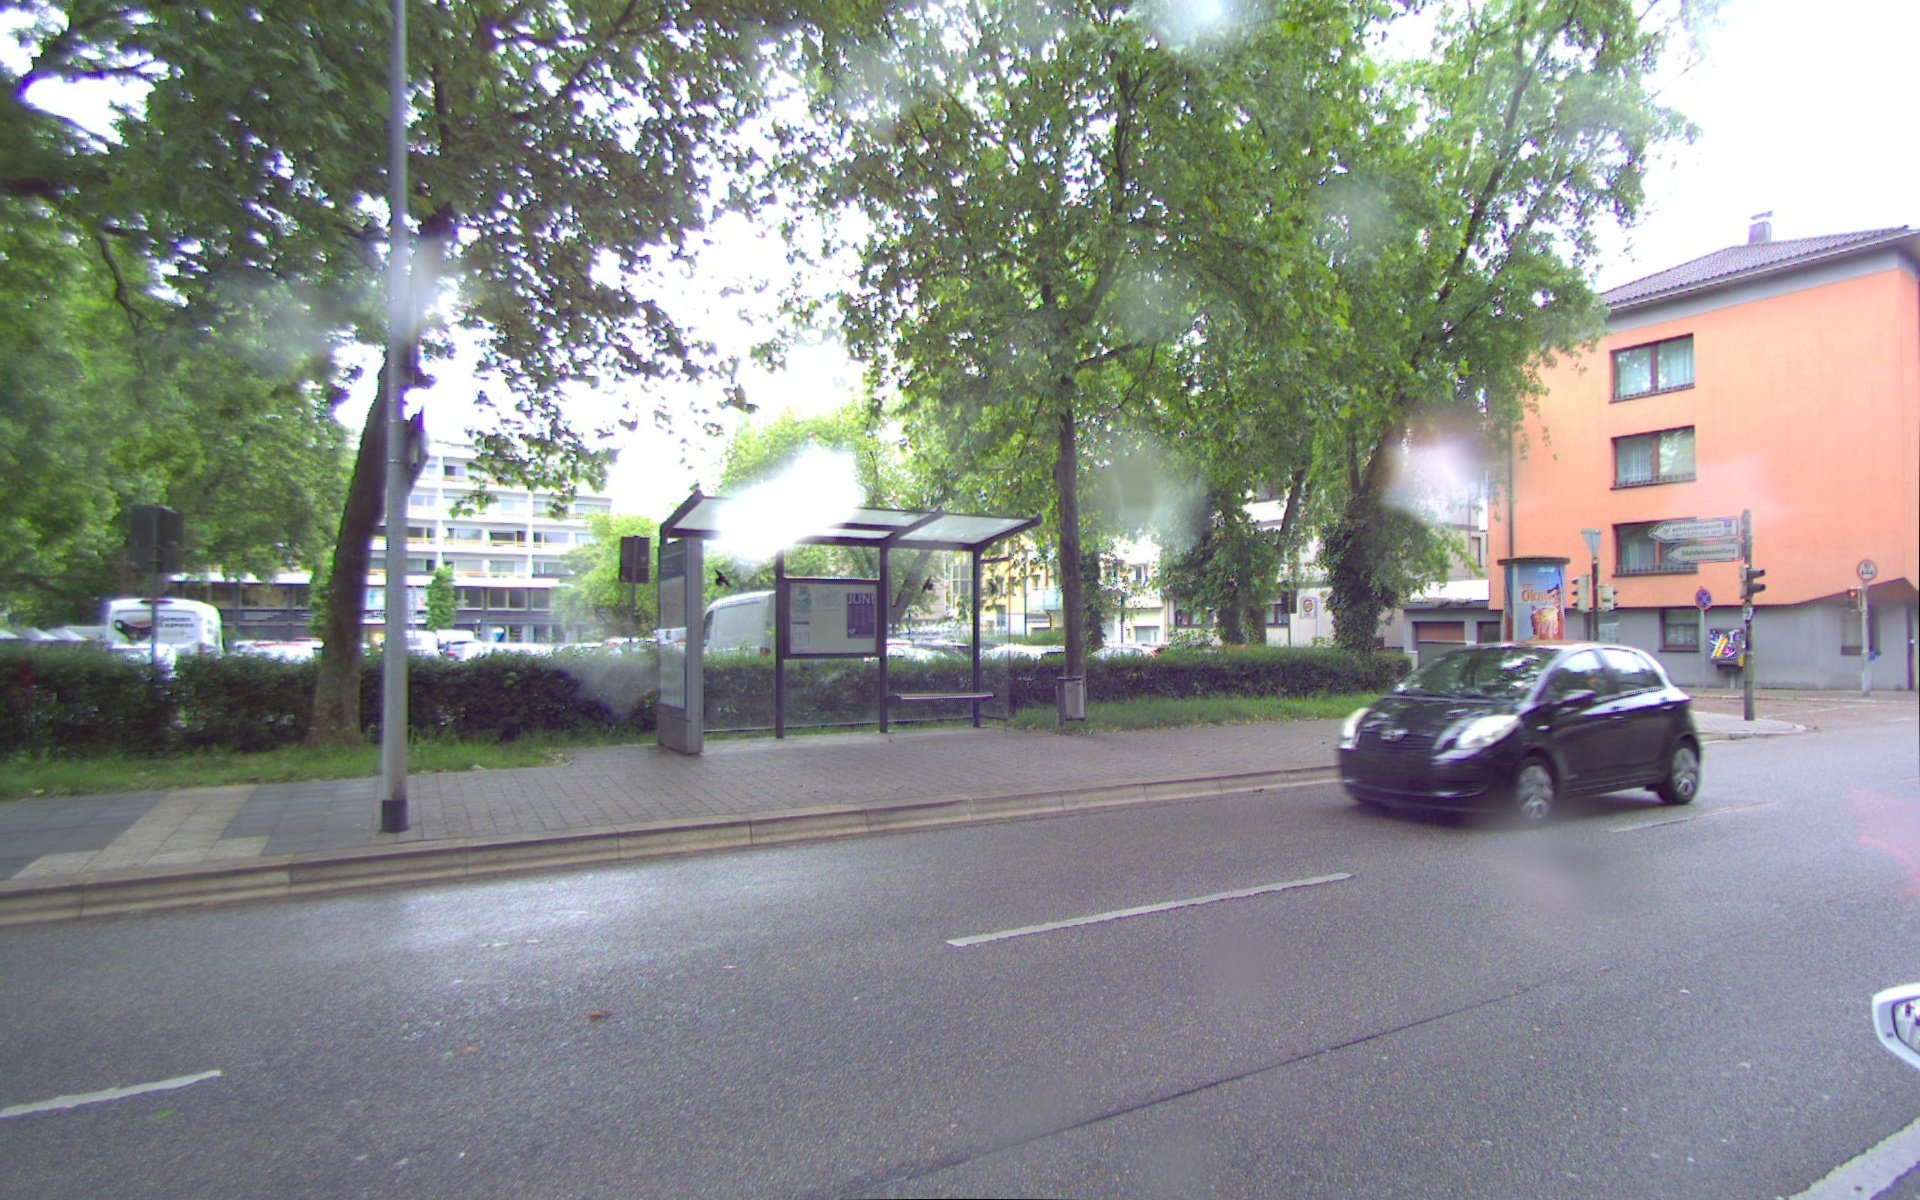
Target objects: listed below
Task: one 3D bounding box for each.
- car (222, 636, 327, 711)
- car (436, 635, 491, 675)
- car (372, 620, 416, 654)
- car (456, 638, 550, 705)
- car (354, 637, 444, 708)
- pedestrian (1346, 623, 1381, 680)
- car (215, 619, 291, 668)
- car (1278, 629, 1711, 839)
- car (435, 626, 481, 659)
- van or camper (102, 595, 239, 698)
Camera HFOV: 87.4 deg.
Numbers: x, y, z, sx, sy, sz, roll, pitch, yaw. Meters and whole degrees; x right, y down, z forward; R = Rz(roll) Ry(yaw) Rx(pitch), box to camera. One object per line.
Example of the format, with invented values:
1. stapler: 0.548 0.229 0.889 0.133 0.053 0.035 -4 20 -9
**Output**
1. car: -16.876 1.754 24.899 1.876 1.506 3.966 2 0 -31
2. car: -22.129 2.405 44.687 1.876 1.506 3.966 2 0 -31
3. car: -32.498 2.094 57.610 2.075 1.745 3.966 2 0 -31
4. car: -12.533 1.885 27.409 1.876 1.506 3.966 2 0 -31
5. car: -14.626 1.822 26.116 1.876 1.506 3.966 2 0 -31
6. pedestrian: 11.305 1.442 28.171 0.750 1.533 0.834 2 0 13
7. car: -25.072 1.509 35.737 1.876 1.506 3.966 2 0 -31
8. car: 4.957 1.071 9.242 3.822 1.553 1.787 1 -3 -31
9. car: -26.987 2.260 53.940 1.876 1.506 3.966 2 0 -31
10. van or camper: -20.626 1.200 26.455 2.073 2.463 4.310 1 -2 -28
